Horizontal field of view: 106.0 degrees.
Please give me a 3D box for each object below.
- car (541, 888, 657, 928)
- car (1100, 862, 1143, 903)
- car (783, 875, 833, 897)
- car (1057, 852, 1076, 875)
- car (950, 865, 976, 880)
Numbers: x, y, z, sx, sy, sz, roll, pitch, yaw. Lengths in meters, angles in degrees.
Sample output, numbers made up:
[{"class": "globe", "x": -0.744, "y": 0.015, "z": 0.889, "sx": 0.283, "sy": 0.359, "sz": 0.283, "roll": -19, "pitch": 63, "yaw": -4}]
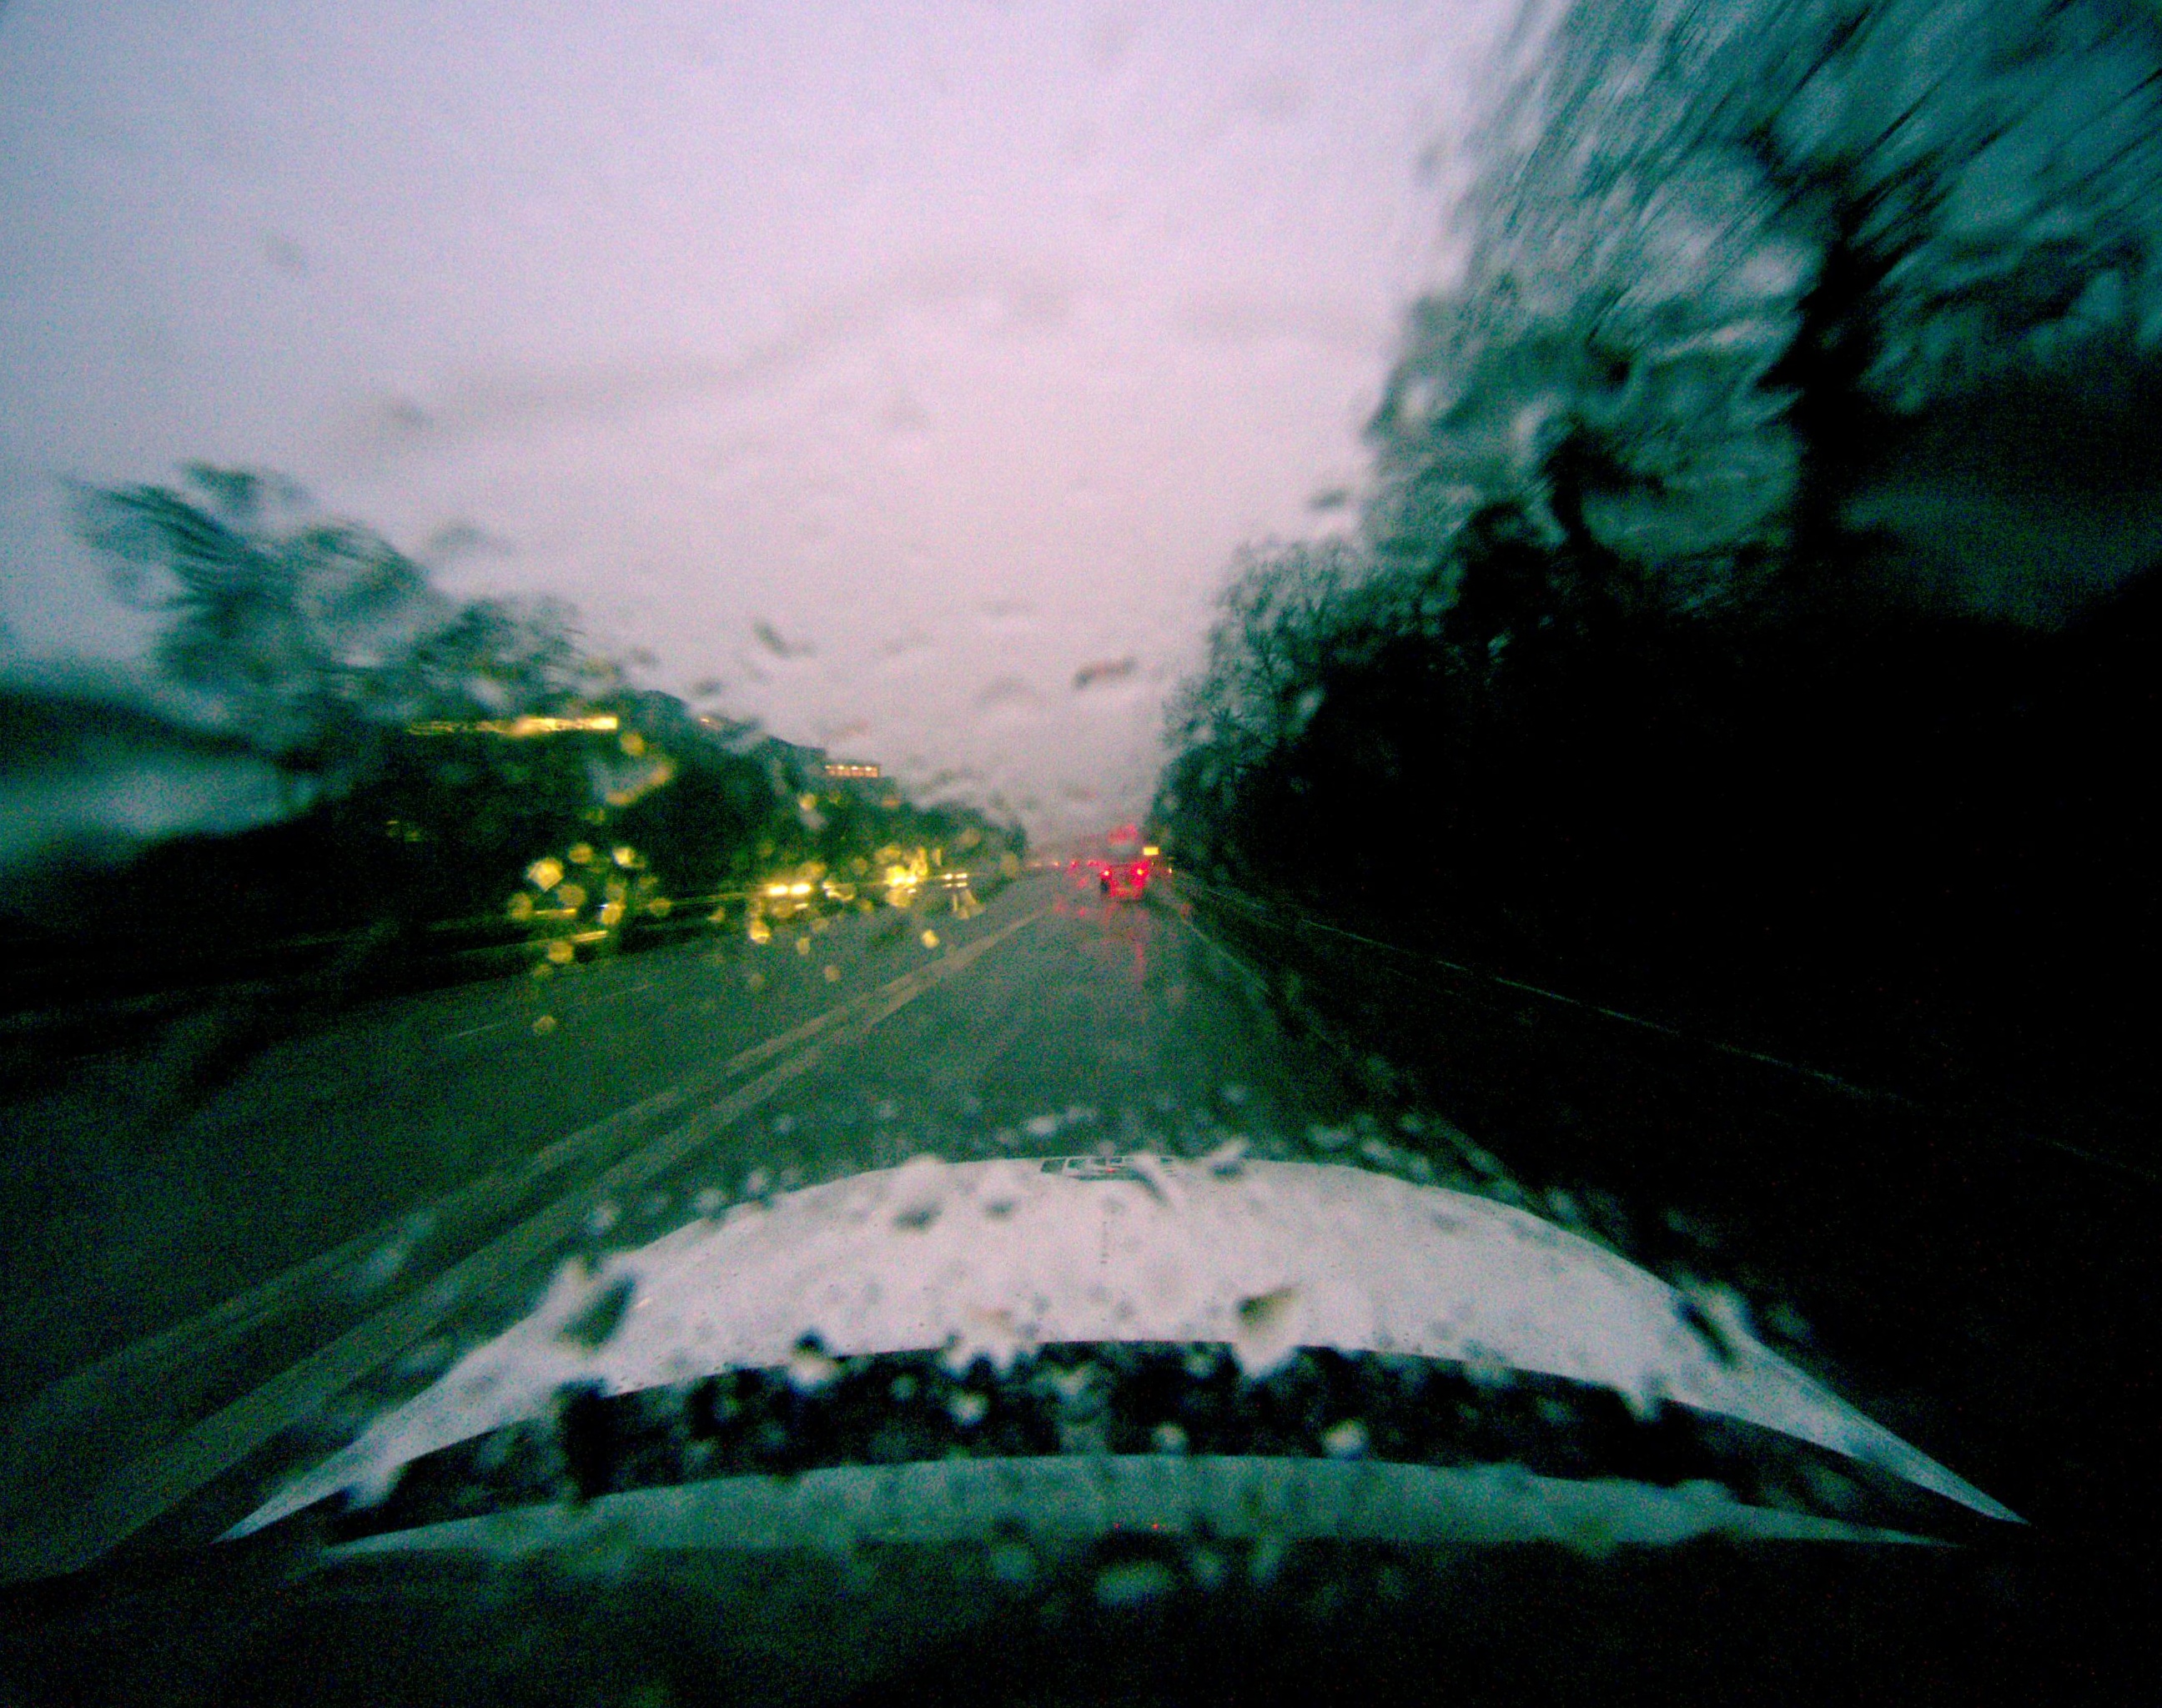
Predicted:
[{"class": "car", "x": -19.083, "y": 2.087, "z": 32.510, "sx": 1.702, "sy": 1.322, "sz": 4.478, "roll": 0, "pitch": 0, "yaw": 4}, {"class": "car", "x": 1.477, "y": 1.029, "z": 30.591, "sx": 1.522, "sy": 1.416, "sz": 3.479, "roll": 0, "pitch": 0, "yaw": 1}, {"class": "car", "x": -17.683, "y": 2.060, "z": 52.899, "sx": 1.538, "sy": 1.322, "sz": 4.262, "roll": 0, "pitch": 0, "yaw": 4}, {"class": "car", "x": -1.600, "y": 1.037, "z": 90.885, "sx": 1.995, "sy": 2.453, "sz": 3.998, "roll": 0, "pitch": 0, "yaw": -1}, {"class": "car", "x": -11.700, "y": 1.816, "z": 80.984, "sx": 1.538, "sy": 1.443, "sz": 4.366, "roll": 0, "pitch": 0, "yaw": 4}]
